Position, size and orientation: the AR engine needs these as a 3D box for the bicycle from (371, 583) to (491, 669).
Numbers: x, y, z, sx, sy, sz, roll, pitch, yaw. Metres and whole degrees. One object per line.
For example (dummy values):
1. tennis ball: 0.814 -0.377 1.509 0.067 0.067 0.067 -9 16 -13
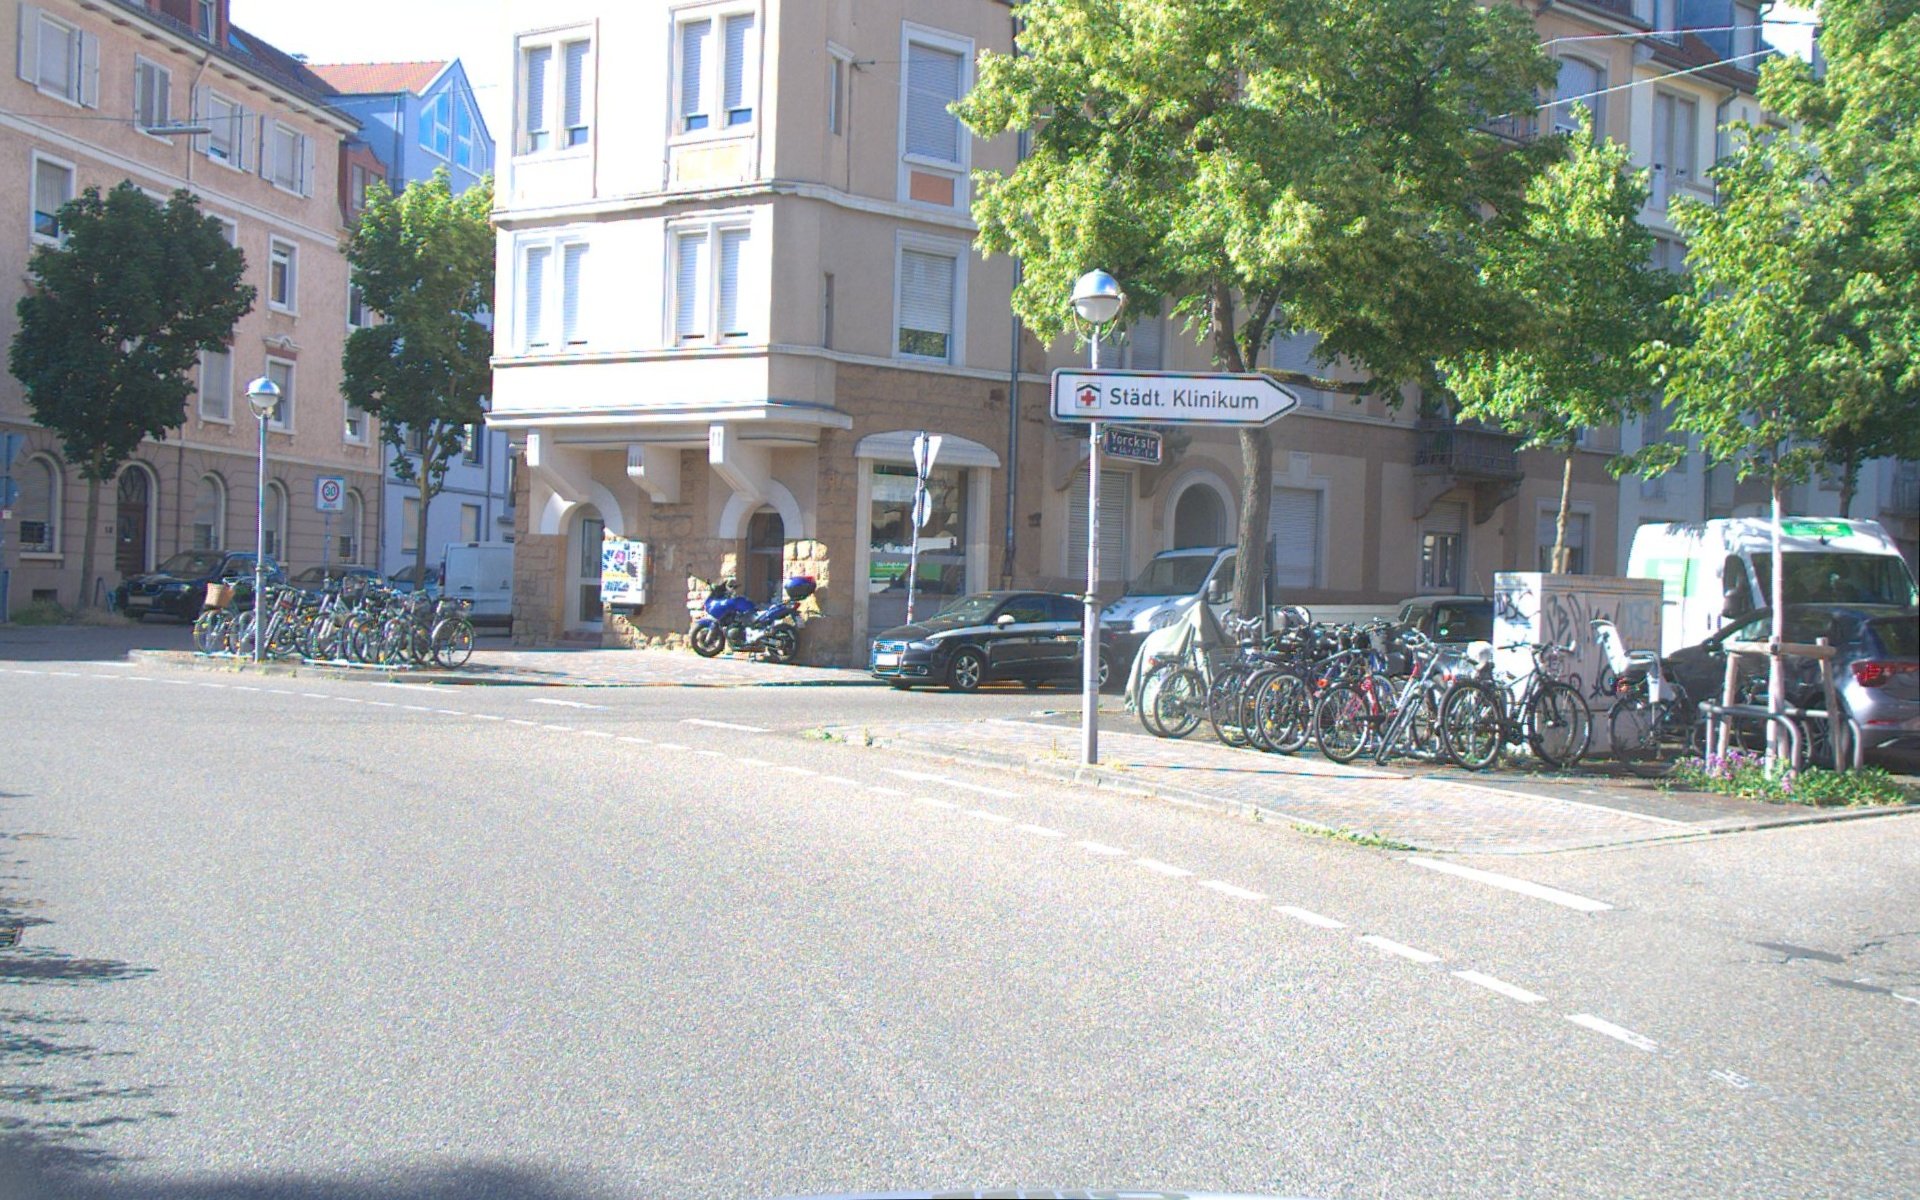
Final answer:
1. bicycle: -7.289 0.348 22.870 0.472 1.143 1.716 1 0 28

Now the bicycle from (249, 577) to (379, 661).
1. bicycle: -9.322 0.269 23.919 0.625 1.165 1.691 1 0 34

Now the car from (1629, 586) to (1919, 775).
1. car: 8.278 0.680 15.871 1.651 1.471 3.915 2 2 -8

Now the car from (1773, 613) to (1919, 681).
1. car: 19.974 1.030 37.028 3.881 1.414 1.666 1 0 -38

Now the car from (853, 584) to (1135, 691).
1. car: 0.537 0.518 23.760 3.881 1.414 1.666 1 0 -38

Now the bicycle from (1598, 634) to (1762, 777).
1. bicycle: 5.965 0.849 13.675 1.506 1.105 0.415 0 2 -31

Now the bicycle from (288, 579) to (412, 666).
1. bicycle: -8.613 0.306 23.424 0.603 1.165 1.695 1 0 26

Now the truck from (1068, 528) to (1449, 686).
1. truck: 5.004 0.143 27.150 6.539 2.332 2.115 1 0 -34

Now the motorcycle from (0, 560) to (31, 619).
1. motorcycle: -21.117 -0.227 35.378 0.920 1.241 2.155 3 1 12

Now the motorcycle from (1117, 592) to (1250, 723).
1. motorcycle: 2.405 0.590 17.986 0.530 1.292 1.696 1 2 -28

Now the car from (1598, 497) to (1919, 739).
1. car: 10.370 0.119 21.810 2.052 2.645 6.382 2 2 7

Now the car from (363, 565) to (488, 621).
1. car: -15.548 -0.206 48.349 1.660 1.512 4.006 2 0 12

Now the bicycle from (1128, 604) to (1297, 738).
1. bicycle: 2.458 0.664 16.020 1.658 1.213 0.532 0 2 -33

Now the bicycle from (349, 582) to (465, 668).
1. bicycle: -7.689 0.337 23.061 0.472 1.143 1.695 1 0 26

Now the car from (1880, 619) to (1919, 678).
1. car: 24.354 1.188 40.645 3.881 1.414 1.666 1 0 -38

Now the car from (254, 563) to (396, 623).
1. car: -16.463 -0.181 43.050 1.660 1.436 3.666 2 0 12

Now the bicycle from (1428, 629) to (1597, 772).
1. bicycle: 4.578 0.810 13.670 1.506 1.105 0.415 0 2 -31

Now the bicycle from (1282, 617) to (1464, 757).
1. bicycle: 3.556 0.721 14.191 1.628 1.121 0.495 0 2 -31

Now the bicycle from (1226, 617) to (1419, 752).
1. bicycle: 3.249 0.725 14.766 1.708 1.107 0.650 0 2 -33

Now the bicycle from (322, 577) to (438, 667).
1. bicycle: -8.113 0.295 23.208 0.441 1.212 1.695 1 0 26

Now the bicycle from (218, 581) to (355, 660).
1. bicycle: -9.850 0.291 24.257 0.525 1.109 1.873 1 0 34

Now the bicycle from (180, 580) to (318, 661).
1. bicycle: -10.524 0.297 24.543 0.684 1.149 1.865 0 -1 28

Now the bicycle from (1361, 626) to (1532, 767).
1. bicycle: 4.099 0.789 13.897 1.552 1.108 0.415 0 2 -31

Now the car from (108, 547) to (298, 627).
1. car: -17.302 -0.290 38.057 1.862 1.670 4.351 2 0 9

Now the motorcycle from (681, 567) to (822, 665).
1. motorcycle: -3.387 0.233 26.764 2.200 1.435 0.700 4 2 26

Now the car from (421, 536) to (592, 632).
1. car: -9.940 -0.346 36.656 2.089 1.942 4.564 2 0 6

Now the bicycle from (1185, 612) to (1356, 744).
1. bicycle: 2.898 0.702 15.379 1.582 1.146 0.583 0 2 -33
